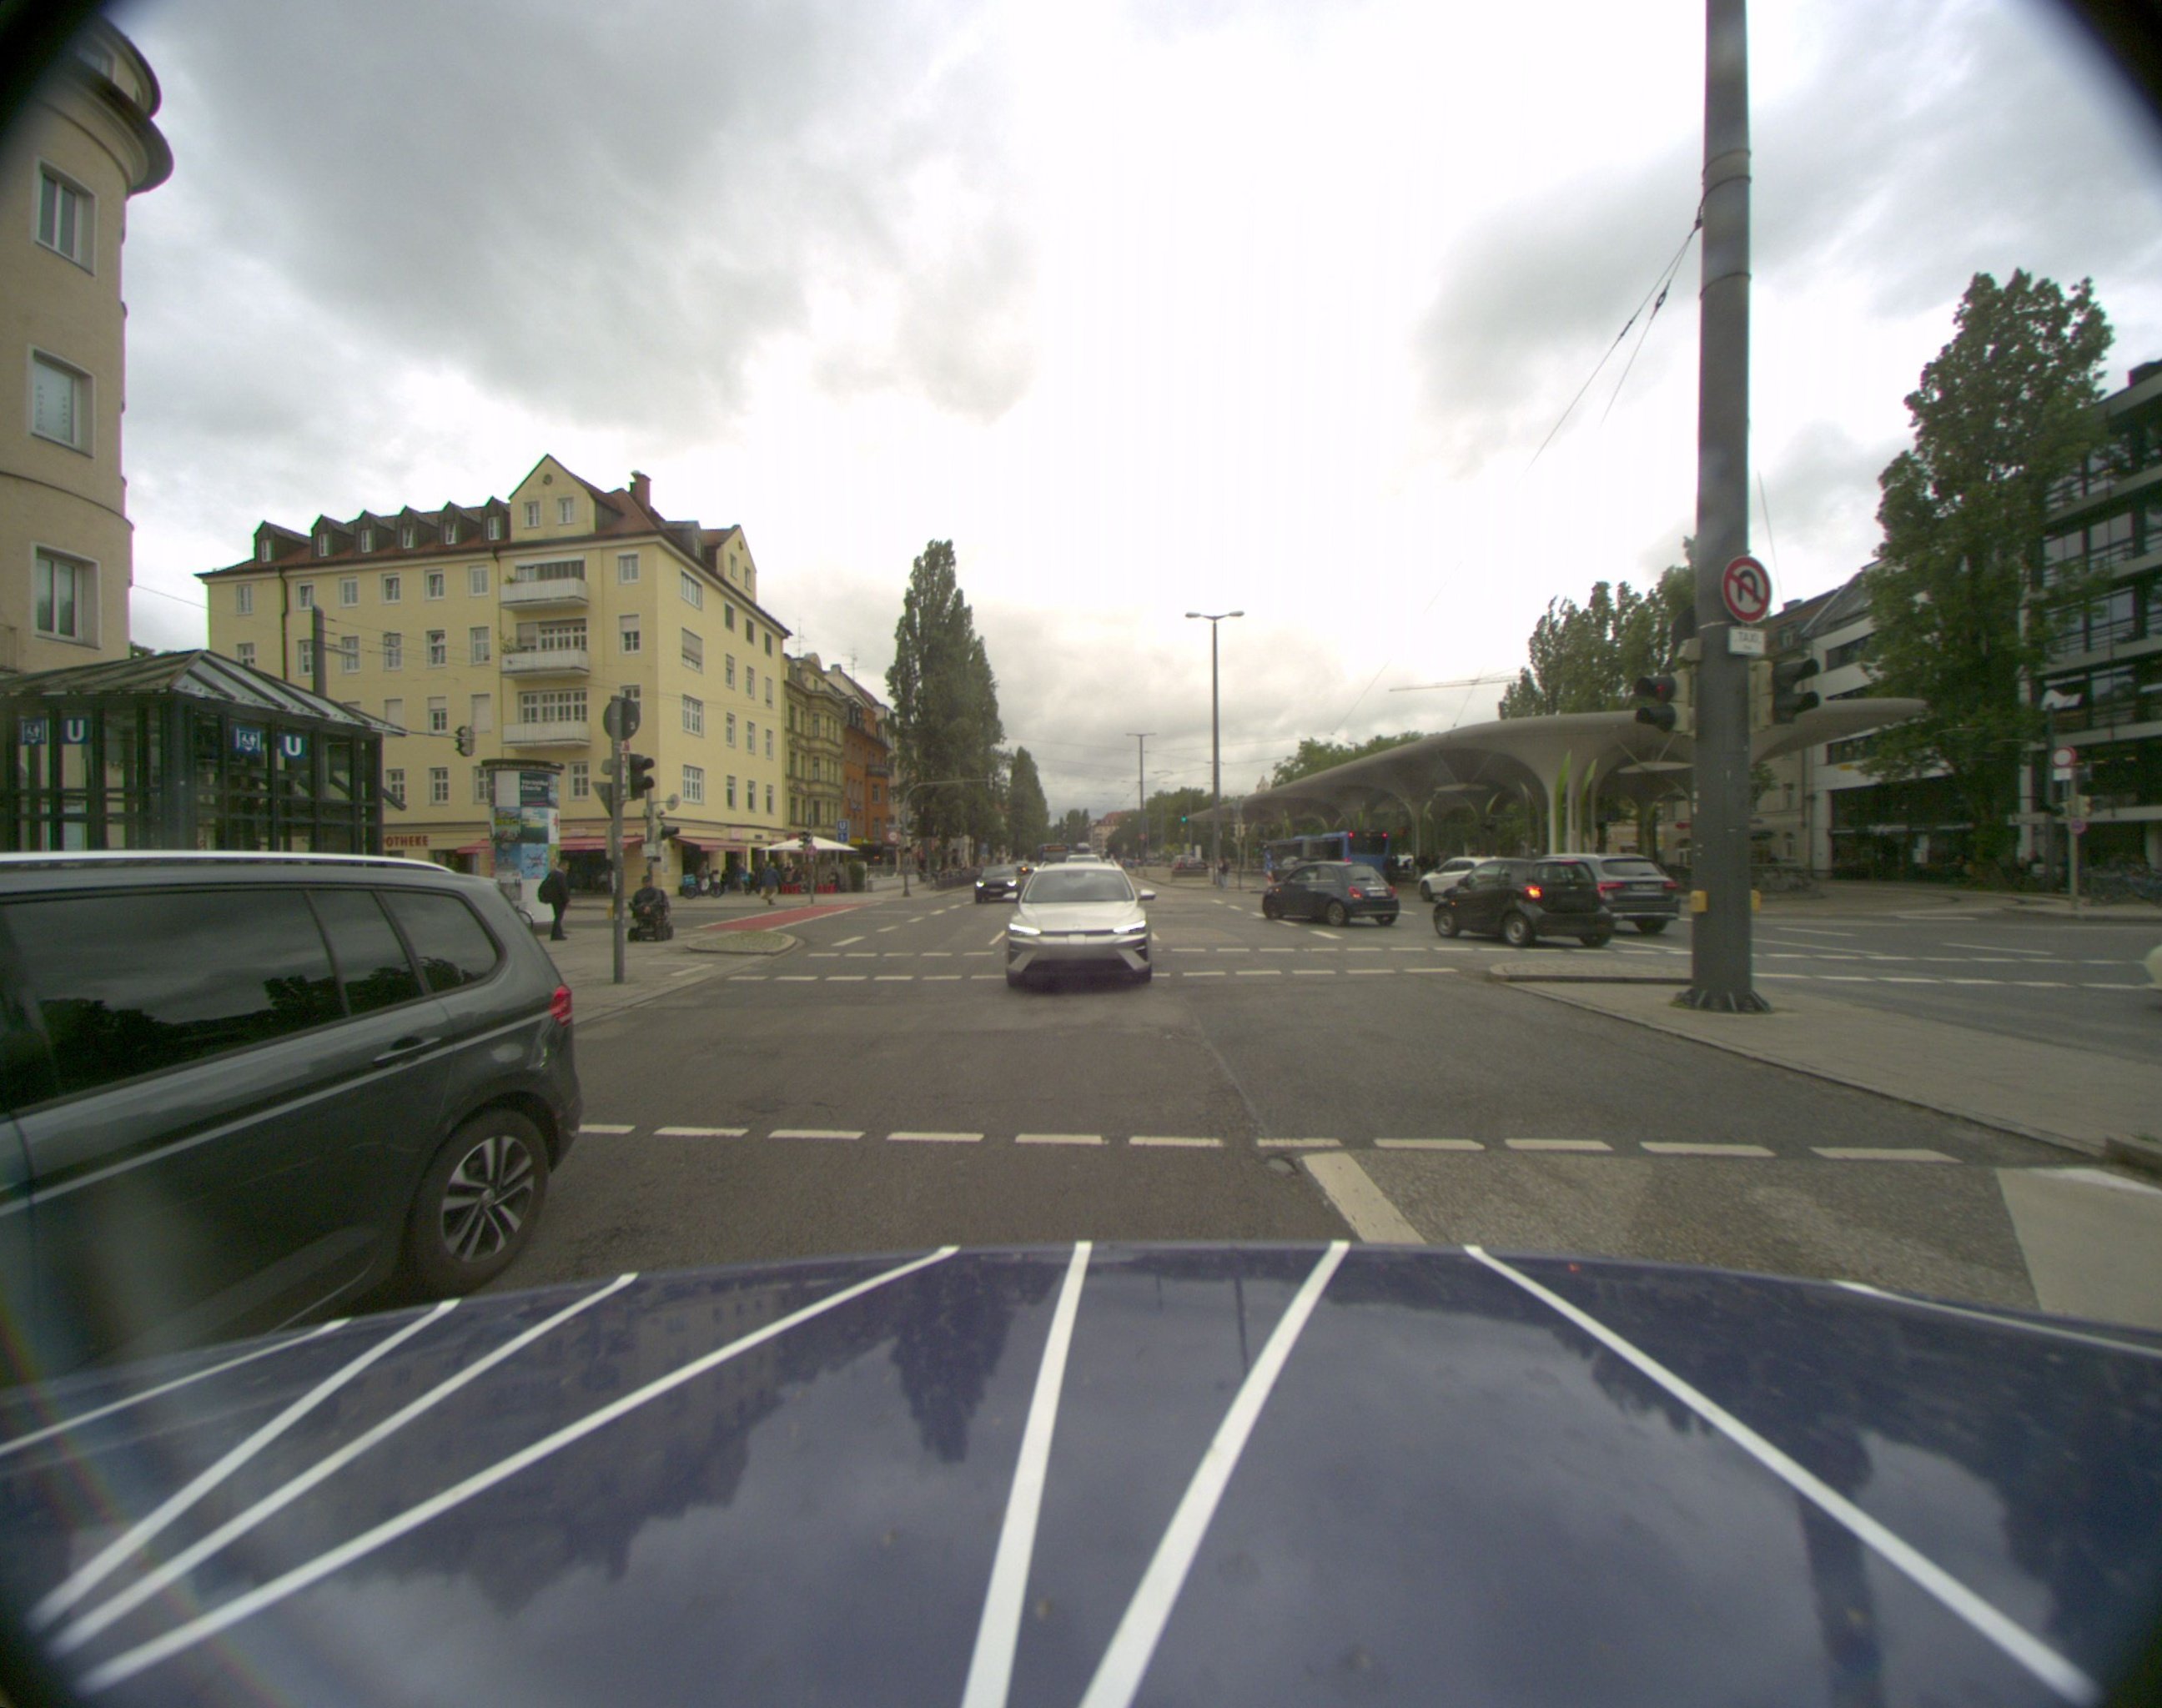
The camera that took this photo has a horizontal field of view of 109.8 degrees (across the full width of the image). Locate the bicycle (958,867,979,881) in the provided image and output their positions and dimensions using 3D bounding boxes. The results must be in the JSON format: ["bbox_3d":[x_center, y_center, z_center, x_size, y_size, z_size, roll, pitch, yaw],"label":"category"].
[{"bbox_3d":[-8.231,1.466,55.507,1.836,0.990,0.349,0,1,40],"label":"bicycle"}]

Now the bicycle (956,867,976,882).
[{"bbox_3d":[-8.190,1.462,54.100,1.836,0.990,0.349,0,1,44],"label":"bicycle"}]

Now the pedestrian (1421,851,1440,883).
[{"bbox_3d":[18.702,0.707,40.640,0.703,1.700,0.758,0,1,45],"label":"pedestrian"}]

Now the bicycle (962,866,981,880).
[{"bbox_3d":[-8.436,1.480,58.403,1.837,0.989,0.326,-3,-1,40],"label":"bicycle"}]

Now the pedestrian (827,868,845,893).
[{"bbox_3d":[-13.146,1.409,40.785,0.679,1.303,0.796,-1,1,1],"label":"pedestrian"}]

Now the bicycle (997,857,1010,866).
[{"bbox_3d":[-9.620,0.892,94.355,1.740,1.096,0.360,0,0,35],"label":"bicycle"}]

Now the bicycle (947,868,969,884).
[{"bbox_3d":[-8.215,1.456,50.588,1.836,0.990,0.349,0,1,40],"label":"bicycle"}]

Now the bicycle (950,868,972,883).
[{"bbox_3d":[-8.181,1.456,51.926,1.836,0.990,0.349,0,1,40],"label":"bicycle"}]

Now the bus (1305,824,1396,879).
[{"bbox_3d":[15.984,-0.137,45.690,2.667,2.990,7.512,1,0,-1],"label":"bus"}]

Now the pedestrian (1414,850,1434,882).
[{"bbox_3d":[18.090,0.638,40.035,0.633,1.665,0.746,-2,1,-42],"label":"pedestrian"}]

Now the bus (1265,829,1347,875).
[{"bbox_3d":[15.938,-0.118,54.731,2.667,2.990,10.514,1,0,-1],"label":"bus"}]

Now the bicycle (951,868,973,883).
[{"bbox_3d":[-8.278,1.462,52.734,1.836,0.990,0.349,0,1,40],"label":"bicycle"}]

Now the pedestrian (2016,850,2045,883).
[{"bbox_3d":[46.277,0.620,37.040,0.593,1.583,0.674,-1,0,16],"label":"pedestrian"}]

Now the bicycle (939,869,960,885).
[{"bbox_3d":[-8.311,1.457,47.951,0.349,0.990,1.837,-1,1,-44],"label":"bicycle"}]

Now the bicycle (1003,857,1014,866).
[{"bbox_3d":[-9.049,0.895,94.954,0.360,1.096,1.740,-1,0,-44],"label":"bicycle"}]

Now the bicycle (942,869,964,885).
[{"bbox_3d":[-8.198,1.452,48.518,1.836,0.990,0.349,0,1,43],"label":"bicycle"}]

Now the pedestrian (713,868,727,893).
[{"bbox_3d":[-19.285,1.420,40.622,0.479,1.291,0.527,-1,0,-2],"label":"pedestrian"}]

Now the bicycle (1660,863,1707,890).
[{"bbox_3d":[26.520,0.971,33.472,0.642,1.118,2.167,-1,0,9],"label":"bicycle"}]

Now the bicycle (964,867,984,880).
[{"bbox_3d":[-8.321,1.503,58.978,1.837,0.989,0.326,-3,-1,40],"label":"bicycle"}]

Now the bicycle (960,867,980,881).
[{"bbox_3d":[-8.207,1.466,56.172,1.836,0.990,0.349,0,1,40],"label":"bicycle"}]

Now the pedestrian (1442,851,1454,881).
[{"bbox_3d":[19.543,0.655,40.475,0.519,1.579,0.481,-1,0,31],"label":"pedestrian"}]

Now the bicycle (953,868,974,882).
[{"bbox_3d":[-8.280,1.463,53.389,1.836,0.990,0.349,0,1,40],"label":"bicycle"}]

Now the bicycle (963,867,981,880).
[{"bbox_3d":[-8.163,1.464,56.947,1.837,0.990,0.326,0,0,45],"label":"bicycle"}]

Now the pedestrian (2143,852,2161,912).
[{"bbox_3d":[30.140,0.761,20.853,0.857,1.632,0.790,-1,0,5],"label":"pedestrian"}]

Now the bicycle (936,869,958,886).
[{"bbox_3d":[-8.194,1.449,46.443,1.836,0.990,0.349,0,1,45],"label":"bicycle"}]

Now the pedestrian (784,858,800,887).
[{"bbox_3d":[-16.853,1.069,44.321,0.616,1.623,0.677,-1,1,0],"label":"pedestrian"}]

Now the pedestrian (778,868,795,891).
[{"bbox_3d":[-15.767,1.381,40.681,0.627,1.196,0.700,-1,1,1],"label":"pedestrian"}]

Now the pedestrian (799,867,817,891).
[{"bbox_3d":[-14.714,1.343,40.965,0.679,1.304,0.796,-1,1,1],"label":"pedestrian"}]

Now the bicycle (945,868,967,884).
[{"bbox_3d":[-8.210,1.455,49.901,1.836,0.990,0.349,0,1,43],"label":"bicycle"}]

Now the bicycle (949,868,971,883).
[{"bbox_3d":[-8.194,1.456,51.253,1.836,0.990,0.349,0,1,40],"label":"bicycle"}]

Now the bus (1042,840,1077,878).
[{"bbox_3d":[-1.783,0.427,67.637,2.637,2.956,9.466,-3,0,0],"label":"bus"}]

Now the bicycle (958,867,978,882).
[{"bbox_3d":[-8.162,1.462,54.818,1.836,0.990,0.349,0,1,44],"label":"bicycle"}]

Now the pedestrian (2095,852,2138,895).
[{"bbox_3d":[44.643,0.831,32.774,0.720,1.790,0.828,-1,1,10],"label":"pedestrian"}]

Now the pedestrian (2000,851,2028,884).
[{"bbox_3d":[45.338,0.667,36.927,0.593,1.583,0.674,-1,0,16],"label":"pedestrian"}]

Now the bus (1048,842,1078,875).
[{"bbox_3d":[-1.777,0.436,76.651,2.637,2.956,8.534,-3,0,0],"label":"bus"}]

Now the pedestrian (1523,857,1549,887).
[{"bbox_3d":[22.038,0.872,36.780,1.022,1.444,0.856,-1,0,34],"label":"pedestrian"}]

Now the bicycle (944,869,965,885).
[{"bbox_3d":[-8.210,1.454,49.235,1.836,0.990,0.349,0,1,43],"label":"bicycle"}]

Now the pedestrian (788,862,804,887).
[{"bbox_3d":[-16.344,1.166,43.582,0.677,1.414,0.616,-1,0,0],"label":"pedestrian"}]

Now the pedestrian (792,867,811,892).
[{"bbox_3d":[-14.723,1.342,40.076,0.679,1.304,0.796,-1,1,1],"label":"pedestrian"}]

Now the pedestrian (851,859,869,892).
[{"bbox_3d":[-11.977,1.154,41.152,0.884,1.733,0.857,-1,0,-16],"label":"pedestrian"}]

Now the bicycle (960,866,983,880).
[{"bbox_3d":[-8.291,1.431,57.648,1.837,1.106,0.468,0,0,32],"label":"bicycle"}]

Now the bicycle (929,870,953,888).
[{"bbox_3d":[-8.165,1.444,44.276,1.836,0.990,0.349,0,1,45],"label":"bicycle"}]

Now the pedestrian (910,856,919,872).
[{"bbox_3d":[-18.353,1.069,83.932,0.748,1.704,1.017,-1,0,0],"label":"pedestrian"}]

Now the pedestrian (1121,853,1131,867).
[{"bbox_3d":[5.781,0.786,97.823,0.862,1.801,0.895,-2,1,-31],"label":"pedestrian"}]

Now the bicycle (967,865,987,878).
[{"bbox_3d":[-8.237,1.378,60.111,1.837,0.990,0.326,-3,-1,37],"label":"bicycle"}]

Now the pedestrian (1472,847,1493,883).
[{"bbox_3d":[20.268,0.554,38.399,0.805,1.806,0.706,-1,1,15],"label":"pedestrian"}]
